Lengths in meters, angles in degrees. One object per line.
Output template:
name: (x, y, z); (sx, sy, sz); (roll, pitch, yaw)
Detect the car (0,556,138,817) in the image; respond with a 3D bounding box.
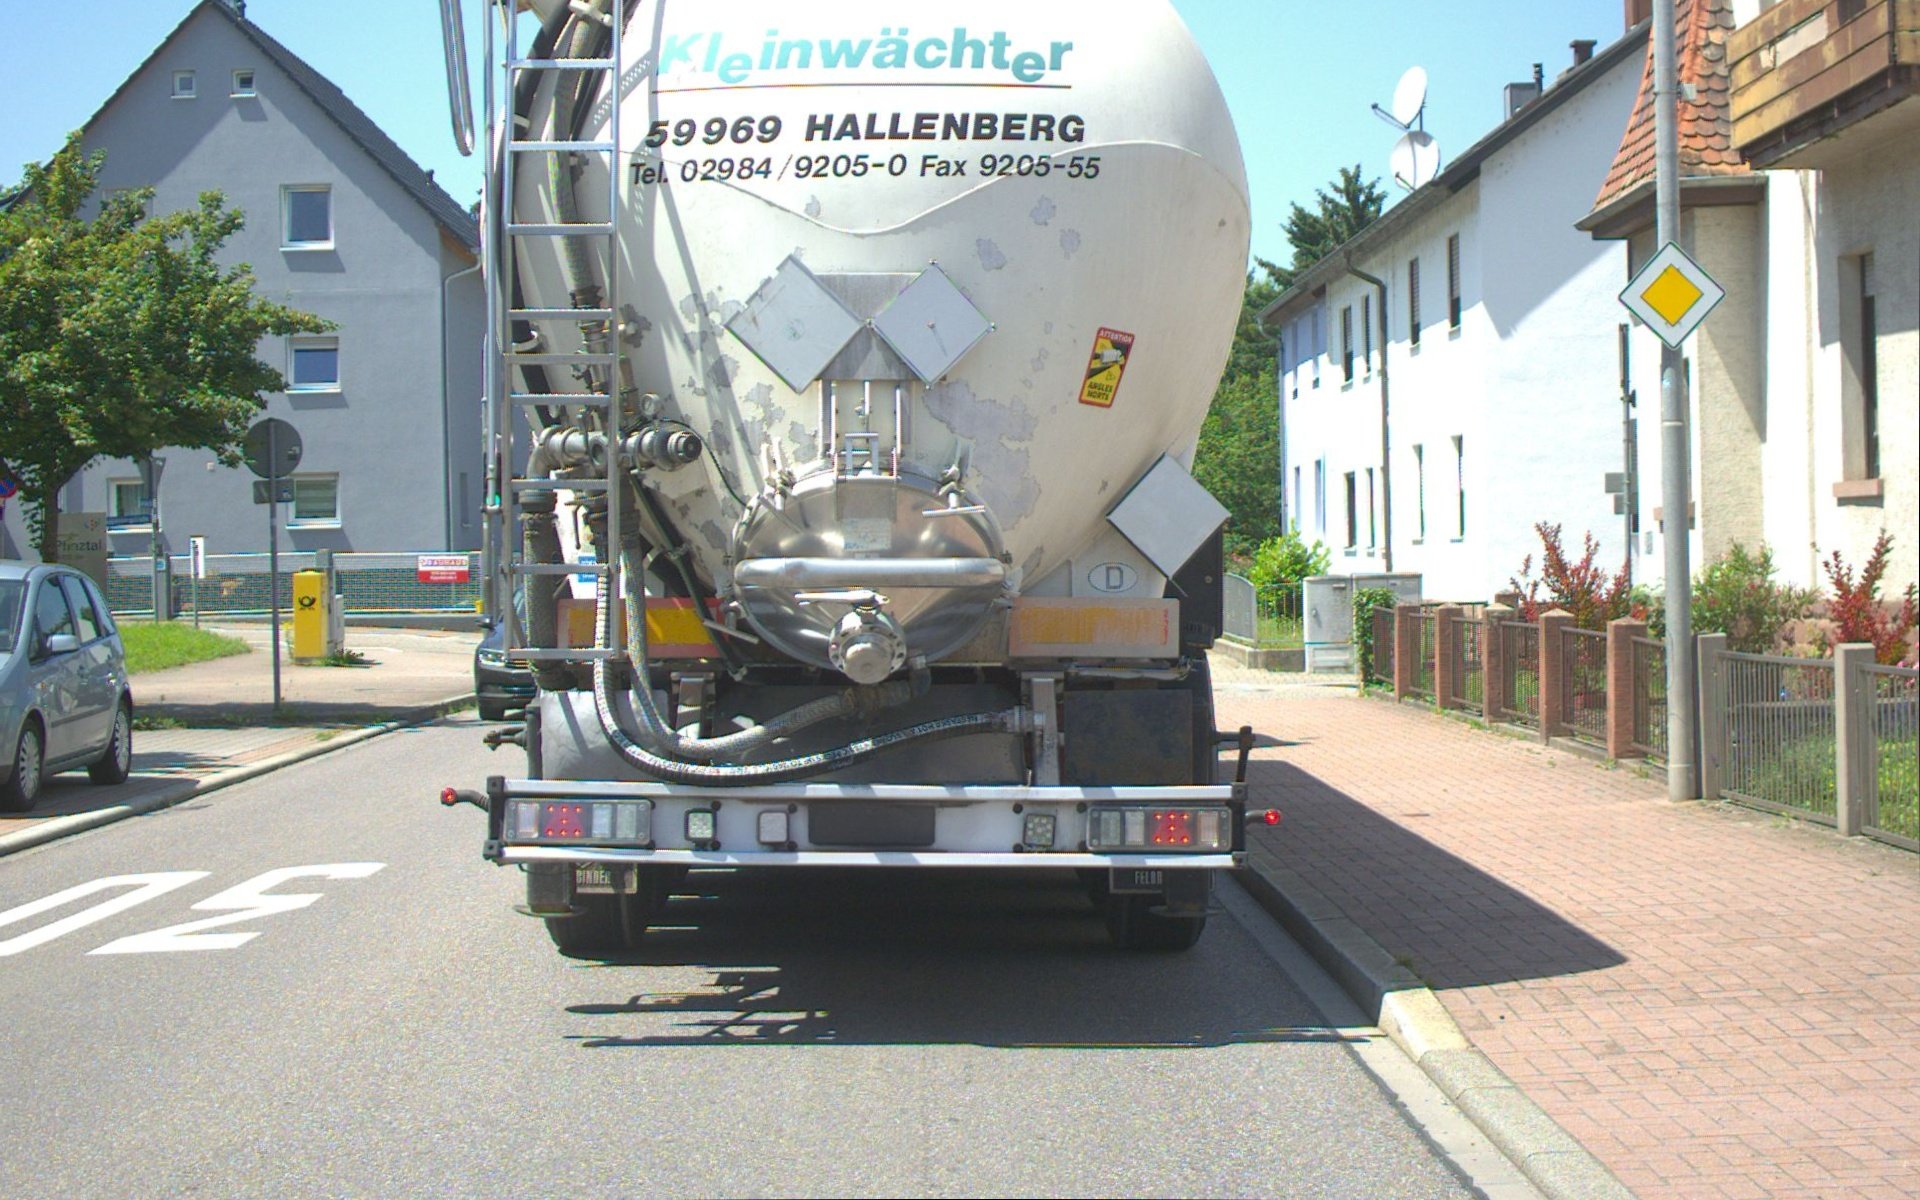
car: (-6.710, 0.499, 22.742); (1.697, 1.575, 3.838); (0, 1, -1)

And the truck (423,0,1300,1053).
truck: (-0.327, -0.699, 15.137); (2.641, 4.002, 9.562); (0, 1, 0)

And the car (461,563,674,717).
car: (-4.054, 0.372, 36.100); (1.784, 1.451, 4.258); (-2, 1, -1)
